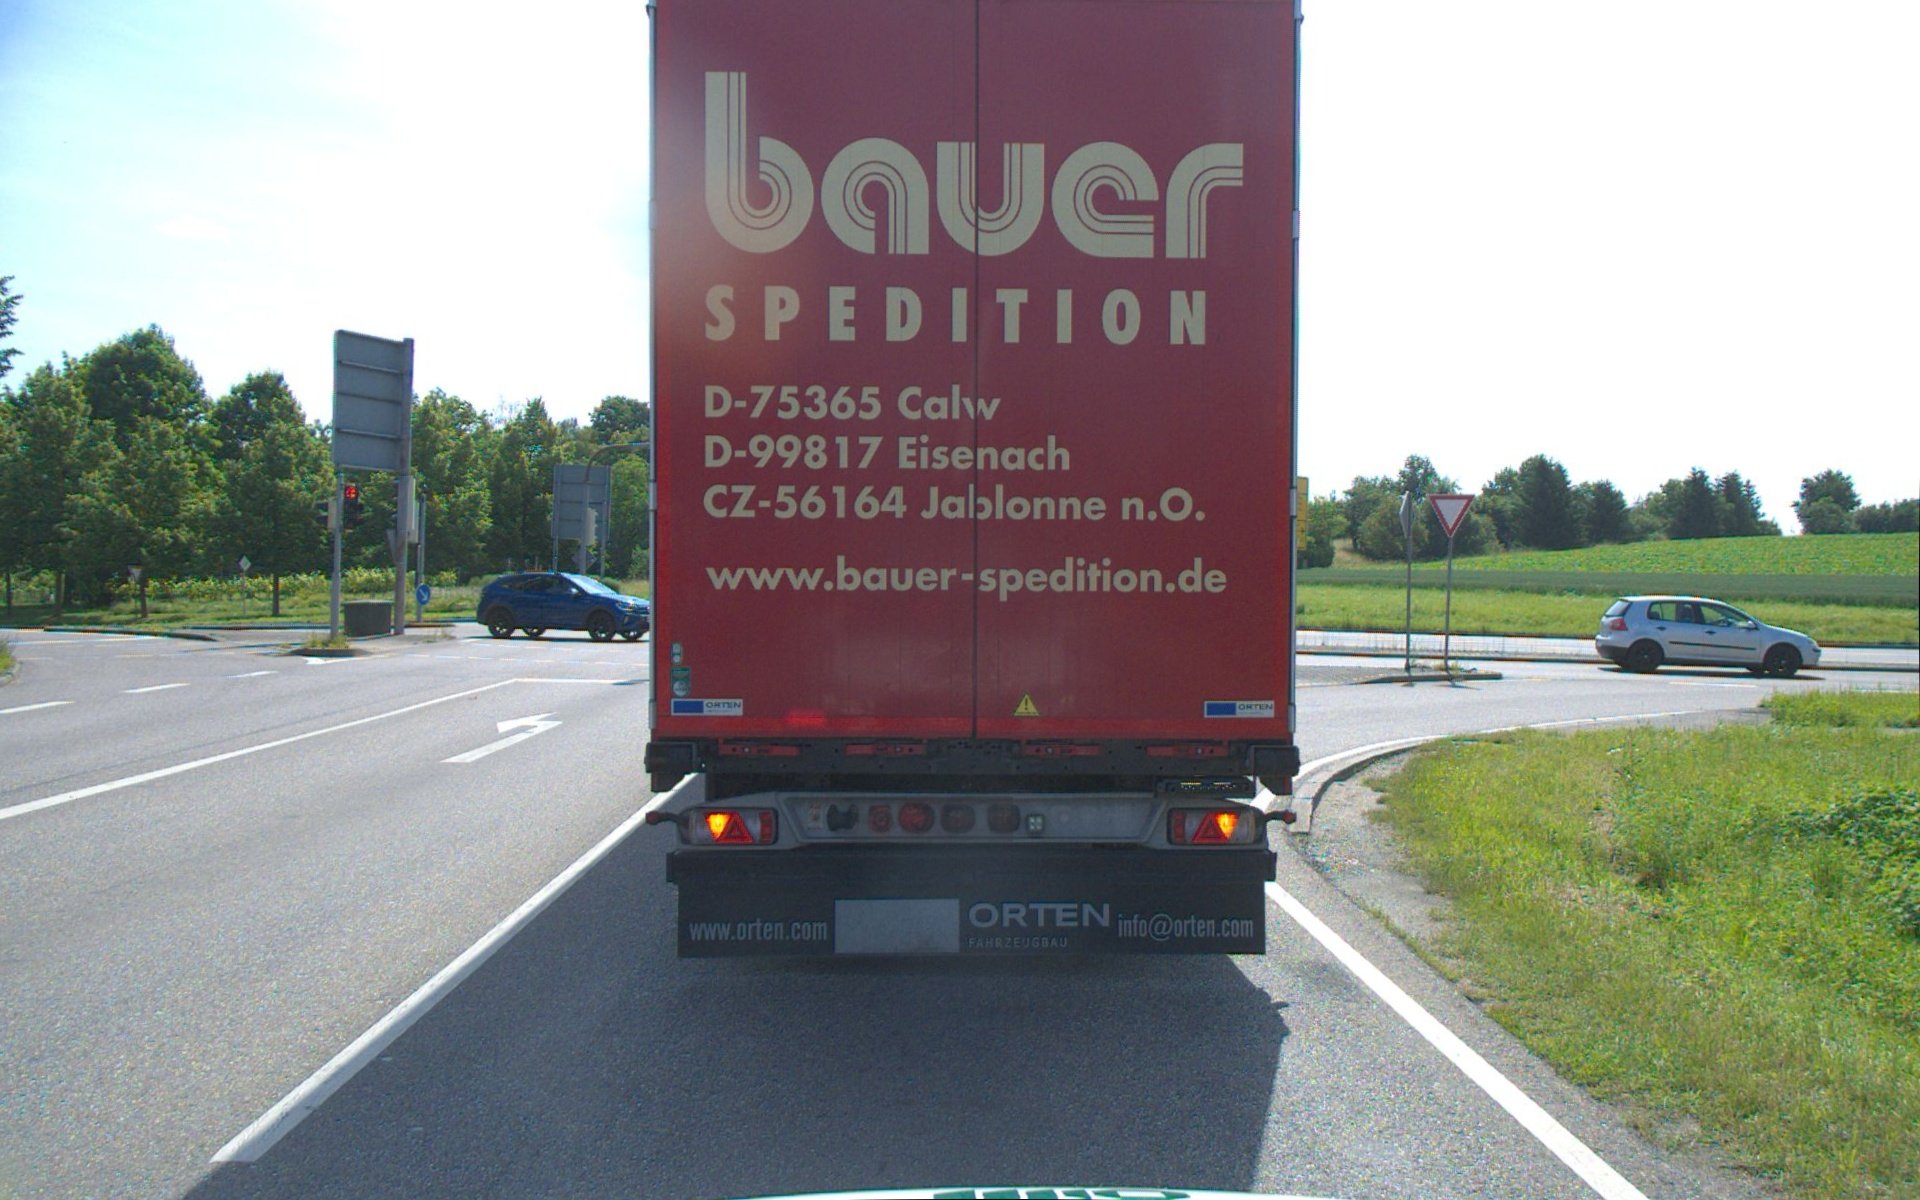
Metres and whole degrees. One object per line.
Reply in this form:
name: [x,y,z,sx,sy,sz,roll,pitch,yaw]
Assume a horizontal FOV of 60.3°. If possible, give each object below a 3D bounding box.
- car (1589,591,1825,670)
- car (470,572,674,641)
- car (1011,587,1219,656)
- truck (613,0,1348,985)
car: [14.810,0.582,32.973,3.948,1.441,1.797,1,0,10]
car: [-8.846,0.133,37.815,4.176,1.454,1.743,1,0,13]
car: [3.313,0.444,35.011,4.176,1.328,1.743,1,0,13]
truck: [-0.073,-0.671,14.424,2.679,3.993,16.622,1,1,-1]
